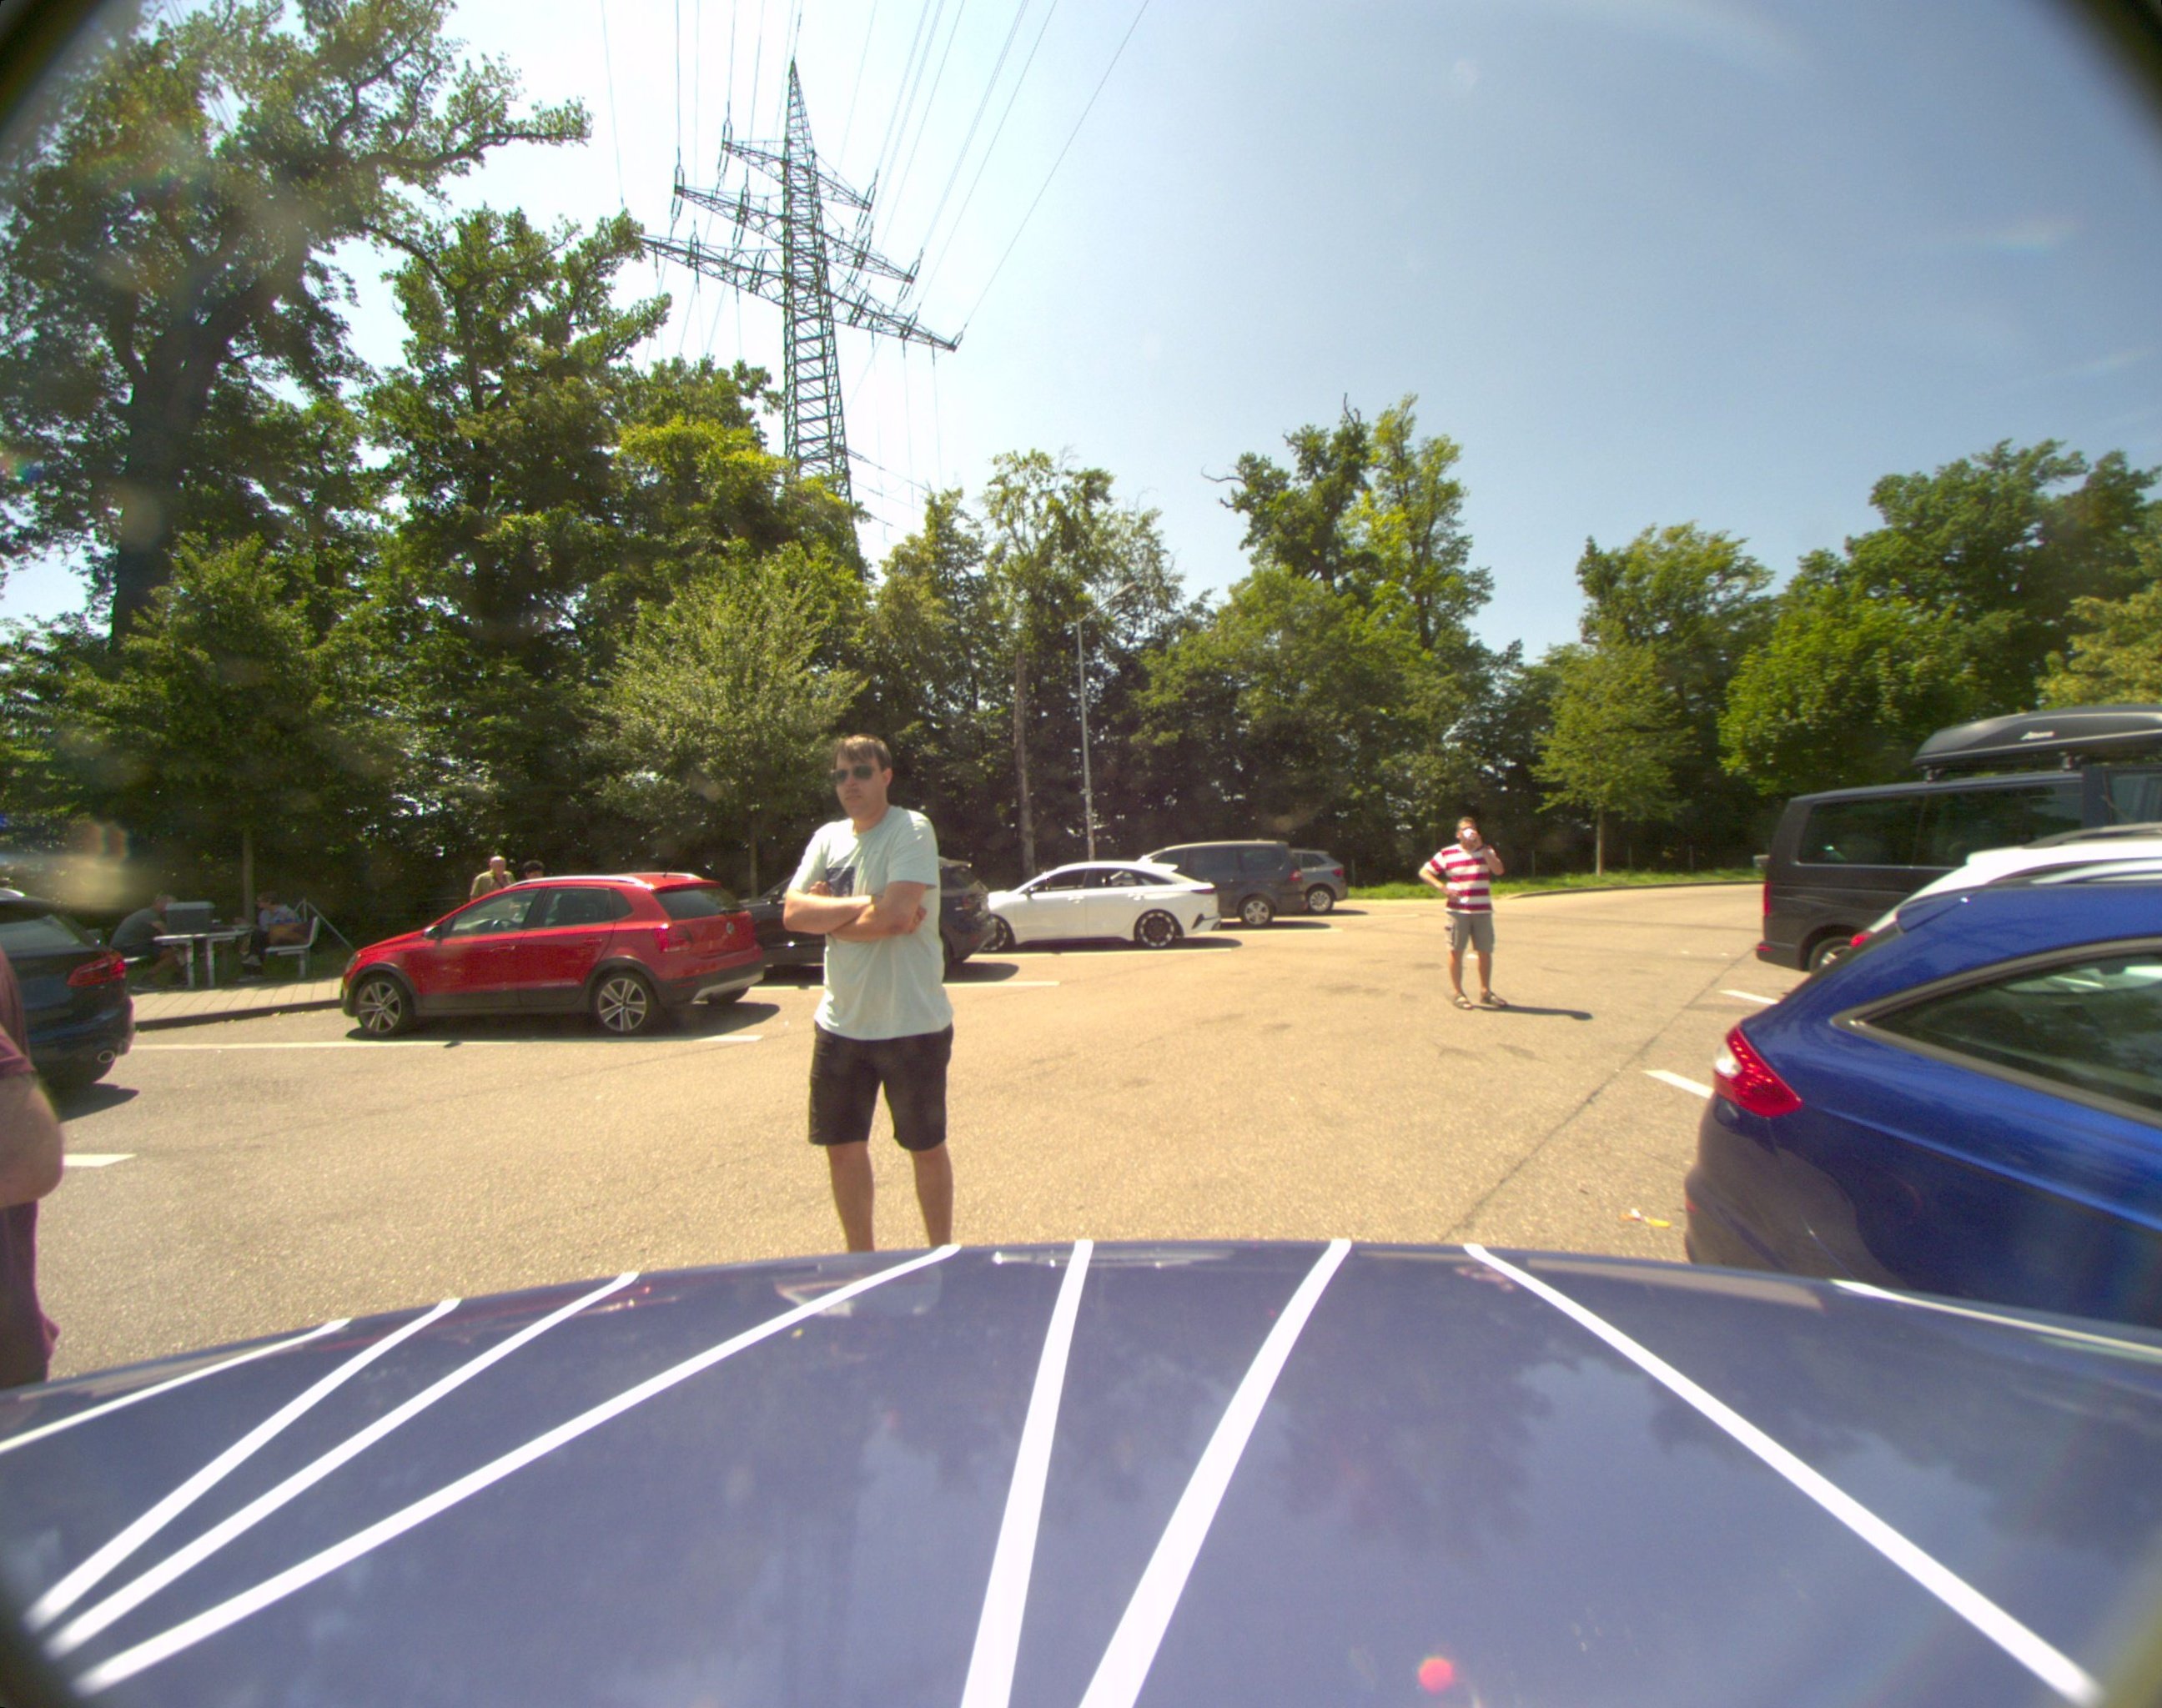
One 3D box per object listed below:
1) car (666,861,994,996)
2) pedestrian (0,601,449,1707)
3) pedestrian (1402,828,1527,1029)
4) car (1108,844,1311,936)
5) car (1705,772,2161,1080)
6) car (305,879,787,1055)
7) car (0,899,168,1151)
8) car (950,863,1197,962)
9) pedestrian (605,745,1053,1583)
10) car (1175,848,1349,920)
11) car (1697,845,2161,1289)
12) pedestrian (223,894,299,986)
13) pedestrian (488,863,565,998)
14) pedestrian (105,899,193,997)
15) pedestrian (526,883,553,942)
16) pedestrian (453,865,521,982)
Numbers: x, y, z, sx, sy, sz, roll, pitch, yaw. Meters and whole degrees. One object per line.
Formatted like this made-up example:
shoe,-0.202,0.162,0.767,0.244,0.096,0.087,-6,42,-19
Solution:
car,-3.256,0.955,10.324,3.825,1.546,1.651,-2,1,4
pedestrian,-1.271,0.790,0.680,0.922,1.894,0.812,-3,1,-32
pedestrian,3.517,0.650,7.034,0.754,1.744,0.785,-2,1,4
car,2.601,0.705,15.481,3.822,1.686,1.652,-2,1,12
car,7.368,0.411,5.308,1.758,1.886,4.571,-3,-1,-9
car,-5.238,1.083,7.695,3.823,1.460,1.651,-2,1,8
car,-9.038,1.164,5.029,4.338,1.544,1.749,-1,1,8
car,-0.081,0.927,12.699,3.825,1.394,1.651,-2,1,4
pedestrian,-0.715,0.719,2.343,0.812,1.939,0.922,-1,1,31
car,4.260,0.702,18.176,3.822,1.551,1.652,-2,1,12
car,4.640,0.725,2.277,1.757,1.496,4.574,-3,-1,-1
pedestrian,-11.868,1.220,11.011,0.595,1.238,0.499,-3,1,-33
pedestrian,-6.924,0.922,9.486,0.648,1.596,0.571,-3,2,-43
pedestrian,-12.735,1.260,10.397,0.595,1.238,0.446,-3,1,-33
pedestrian,-11.015,1.178,15.464,0.357,1.158,0.384,-3,2,-41
pedestrian,-8.506,0.967,10.883,0.648,1.596,0.571,-3,2,-43
